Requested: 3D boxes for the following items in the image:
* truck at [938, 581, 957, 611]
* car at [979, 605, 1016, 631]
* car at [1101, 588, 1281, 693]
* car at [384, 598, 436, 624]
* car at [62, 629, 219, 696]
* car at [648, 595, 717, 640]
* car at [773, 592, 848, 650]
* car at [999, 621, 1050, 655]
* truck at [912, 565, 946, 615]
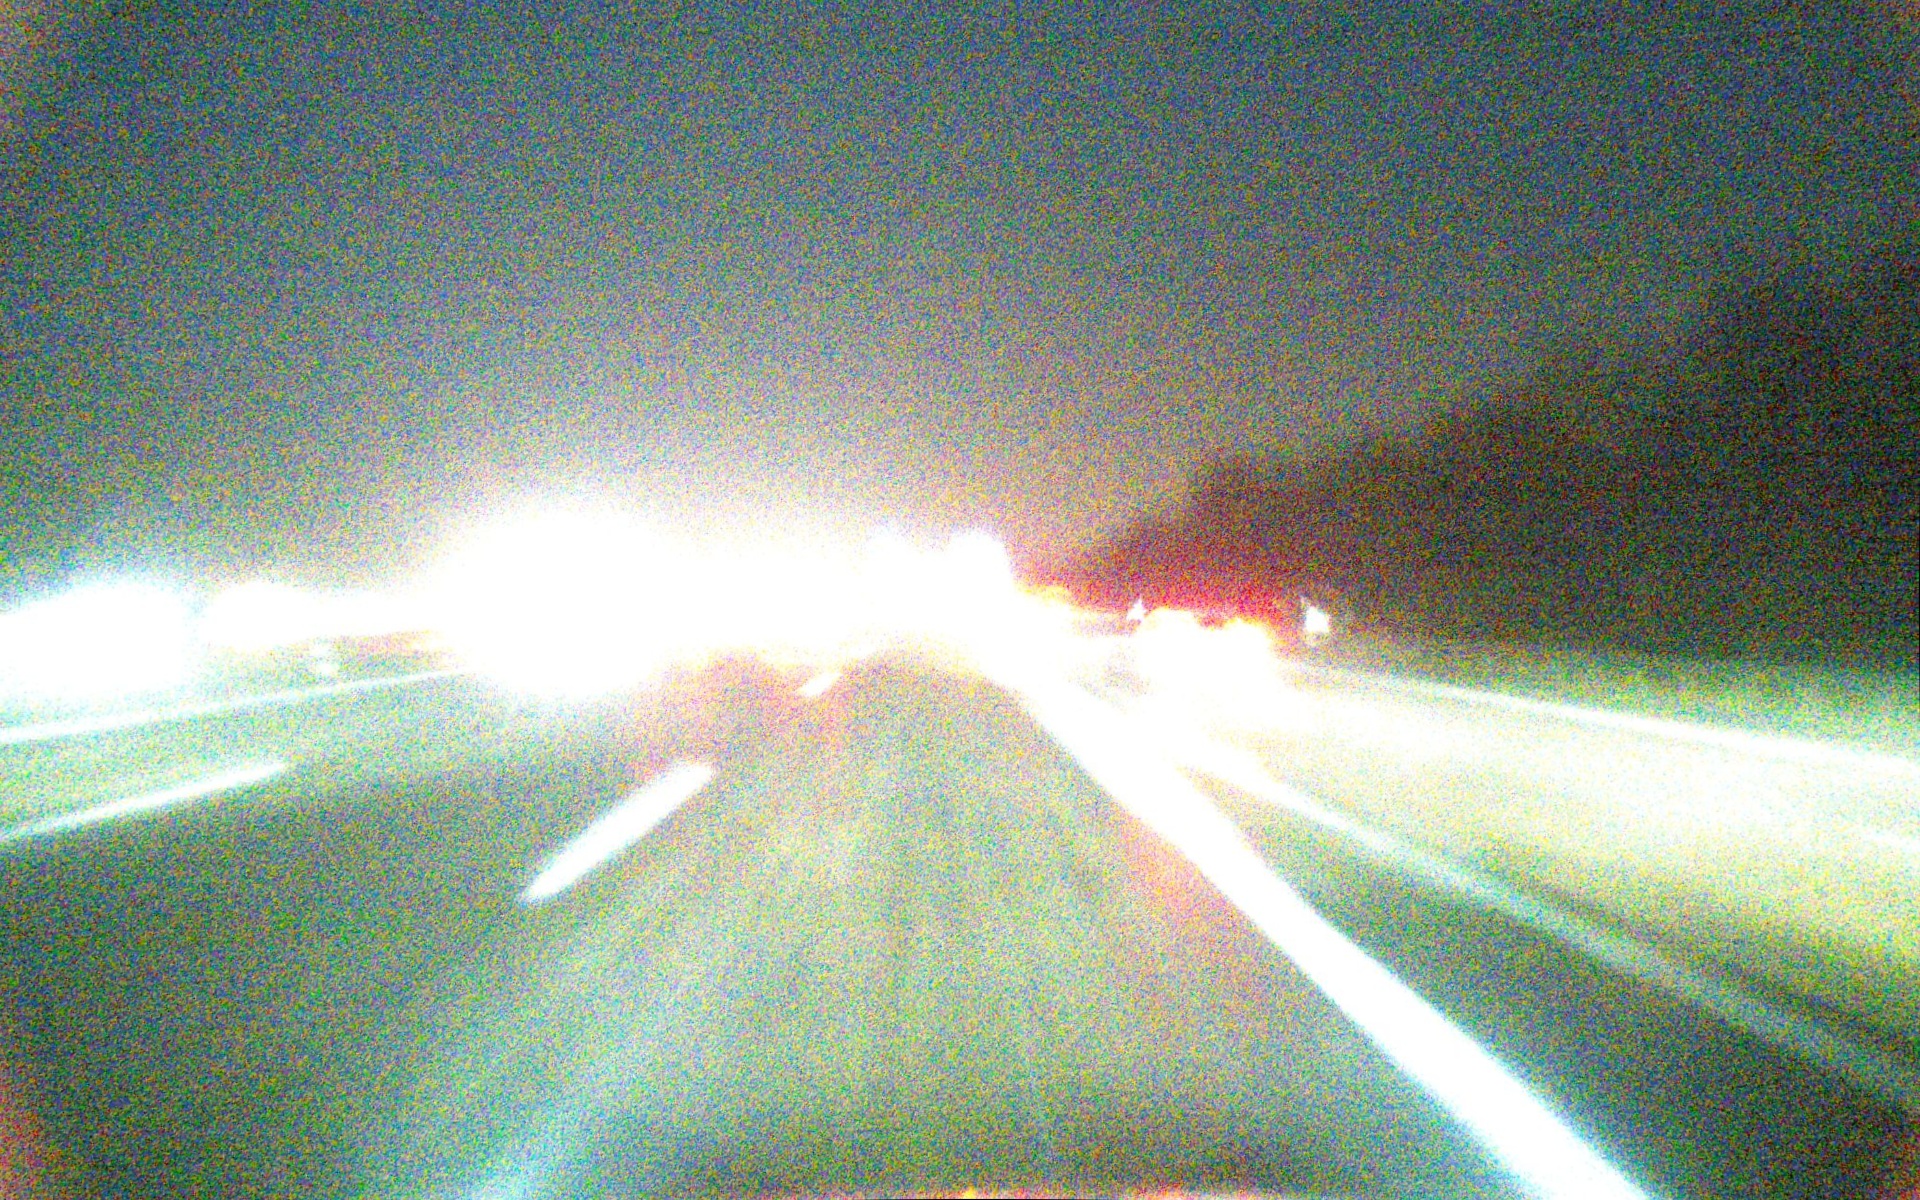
[{"bbox_3d":[-1.414,-0.403,187.602,1.953,3.096,6.464,-3,-1,0],"label":"truck"},{"bbox_3d":[1.842,0.905,82.452,1.550,1.268,3.065,0,-1,-5],"label":"car"},{"bbox_3d":[3.664,0.597,27.183,2.017,1.545,5.012,1,0,-3],"label":"car"},{"bbox_3d":[-38.894,0.741,117.063,1.952,1.802,4.572,0,0,4],"label":"car"},{"bbox_3d":[-18.095,1.350,36.697,1.581,1.322,3.701,-3,-1,0],"label":"car"},{"bbox_3d":[-8.564,0.577,51.291,1.629,1.258,3.759,-3,-1,-3],"label":"car"},{"bbox_3d":[-4.085,0.546,45.842,1.765,1.513,3.999,1,0,-1],"label":"car"},{"bbox_3d":[2.397,1.413,61.945,1.550,1.268,3.065,0,-1,-5],"label":"car"},{"bbox_3d":[-2.047,-0.627,111.612,1.953,3.096,6.464,-3,-1,0],"label":"truck"}]
